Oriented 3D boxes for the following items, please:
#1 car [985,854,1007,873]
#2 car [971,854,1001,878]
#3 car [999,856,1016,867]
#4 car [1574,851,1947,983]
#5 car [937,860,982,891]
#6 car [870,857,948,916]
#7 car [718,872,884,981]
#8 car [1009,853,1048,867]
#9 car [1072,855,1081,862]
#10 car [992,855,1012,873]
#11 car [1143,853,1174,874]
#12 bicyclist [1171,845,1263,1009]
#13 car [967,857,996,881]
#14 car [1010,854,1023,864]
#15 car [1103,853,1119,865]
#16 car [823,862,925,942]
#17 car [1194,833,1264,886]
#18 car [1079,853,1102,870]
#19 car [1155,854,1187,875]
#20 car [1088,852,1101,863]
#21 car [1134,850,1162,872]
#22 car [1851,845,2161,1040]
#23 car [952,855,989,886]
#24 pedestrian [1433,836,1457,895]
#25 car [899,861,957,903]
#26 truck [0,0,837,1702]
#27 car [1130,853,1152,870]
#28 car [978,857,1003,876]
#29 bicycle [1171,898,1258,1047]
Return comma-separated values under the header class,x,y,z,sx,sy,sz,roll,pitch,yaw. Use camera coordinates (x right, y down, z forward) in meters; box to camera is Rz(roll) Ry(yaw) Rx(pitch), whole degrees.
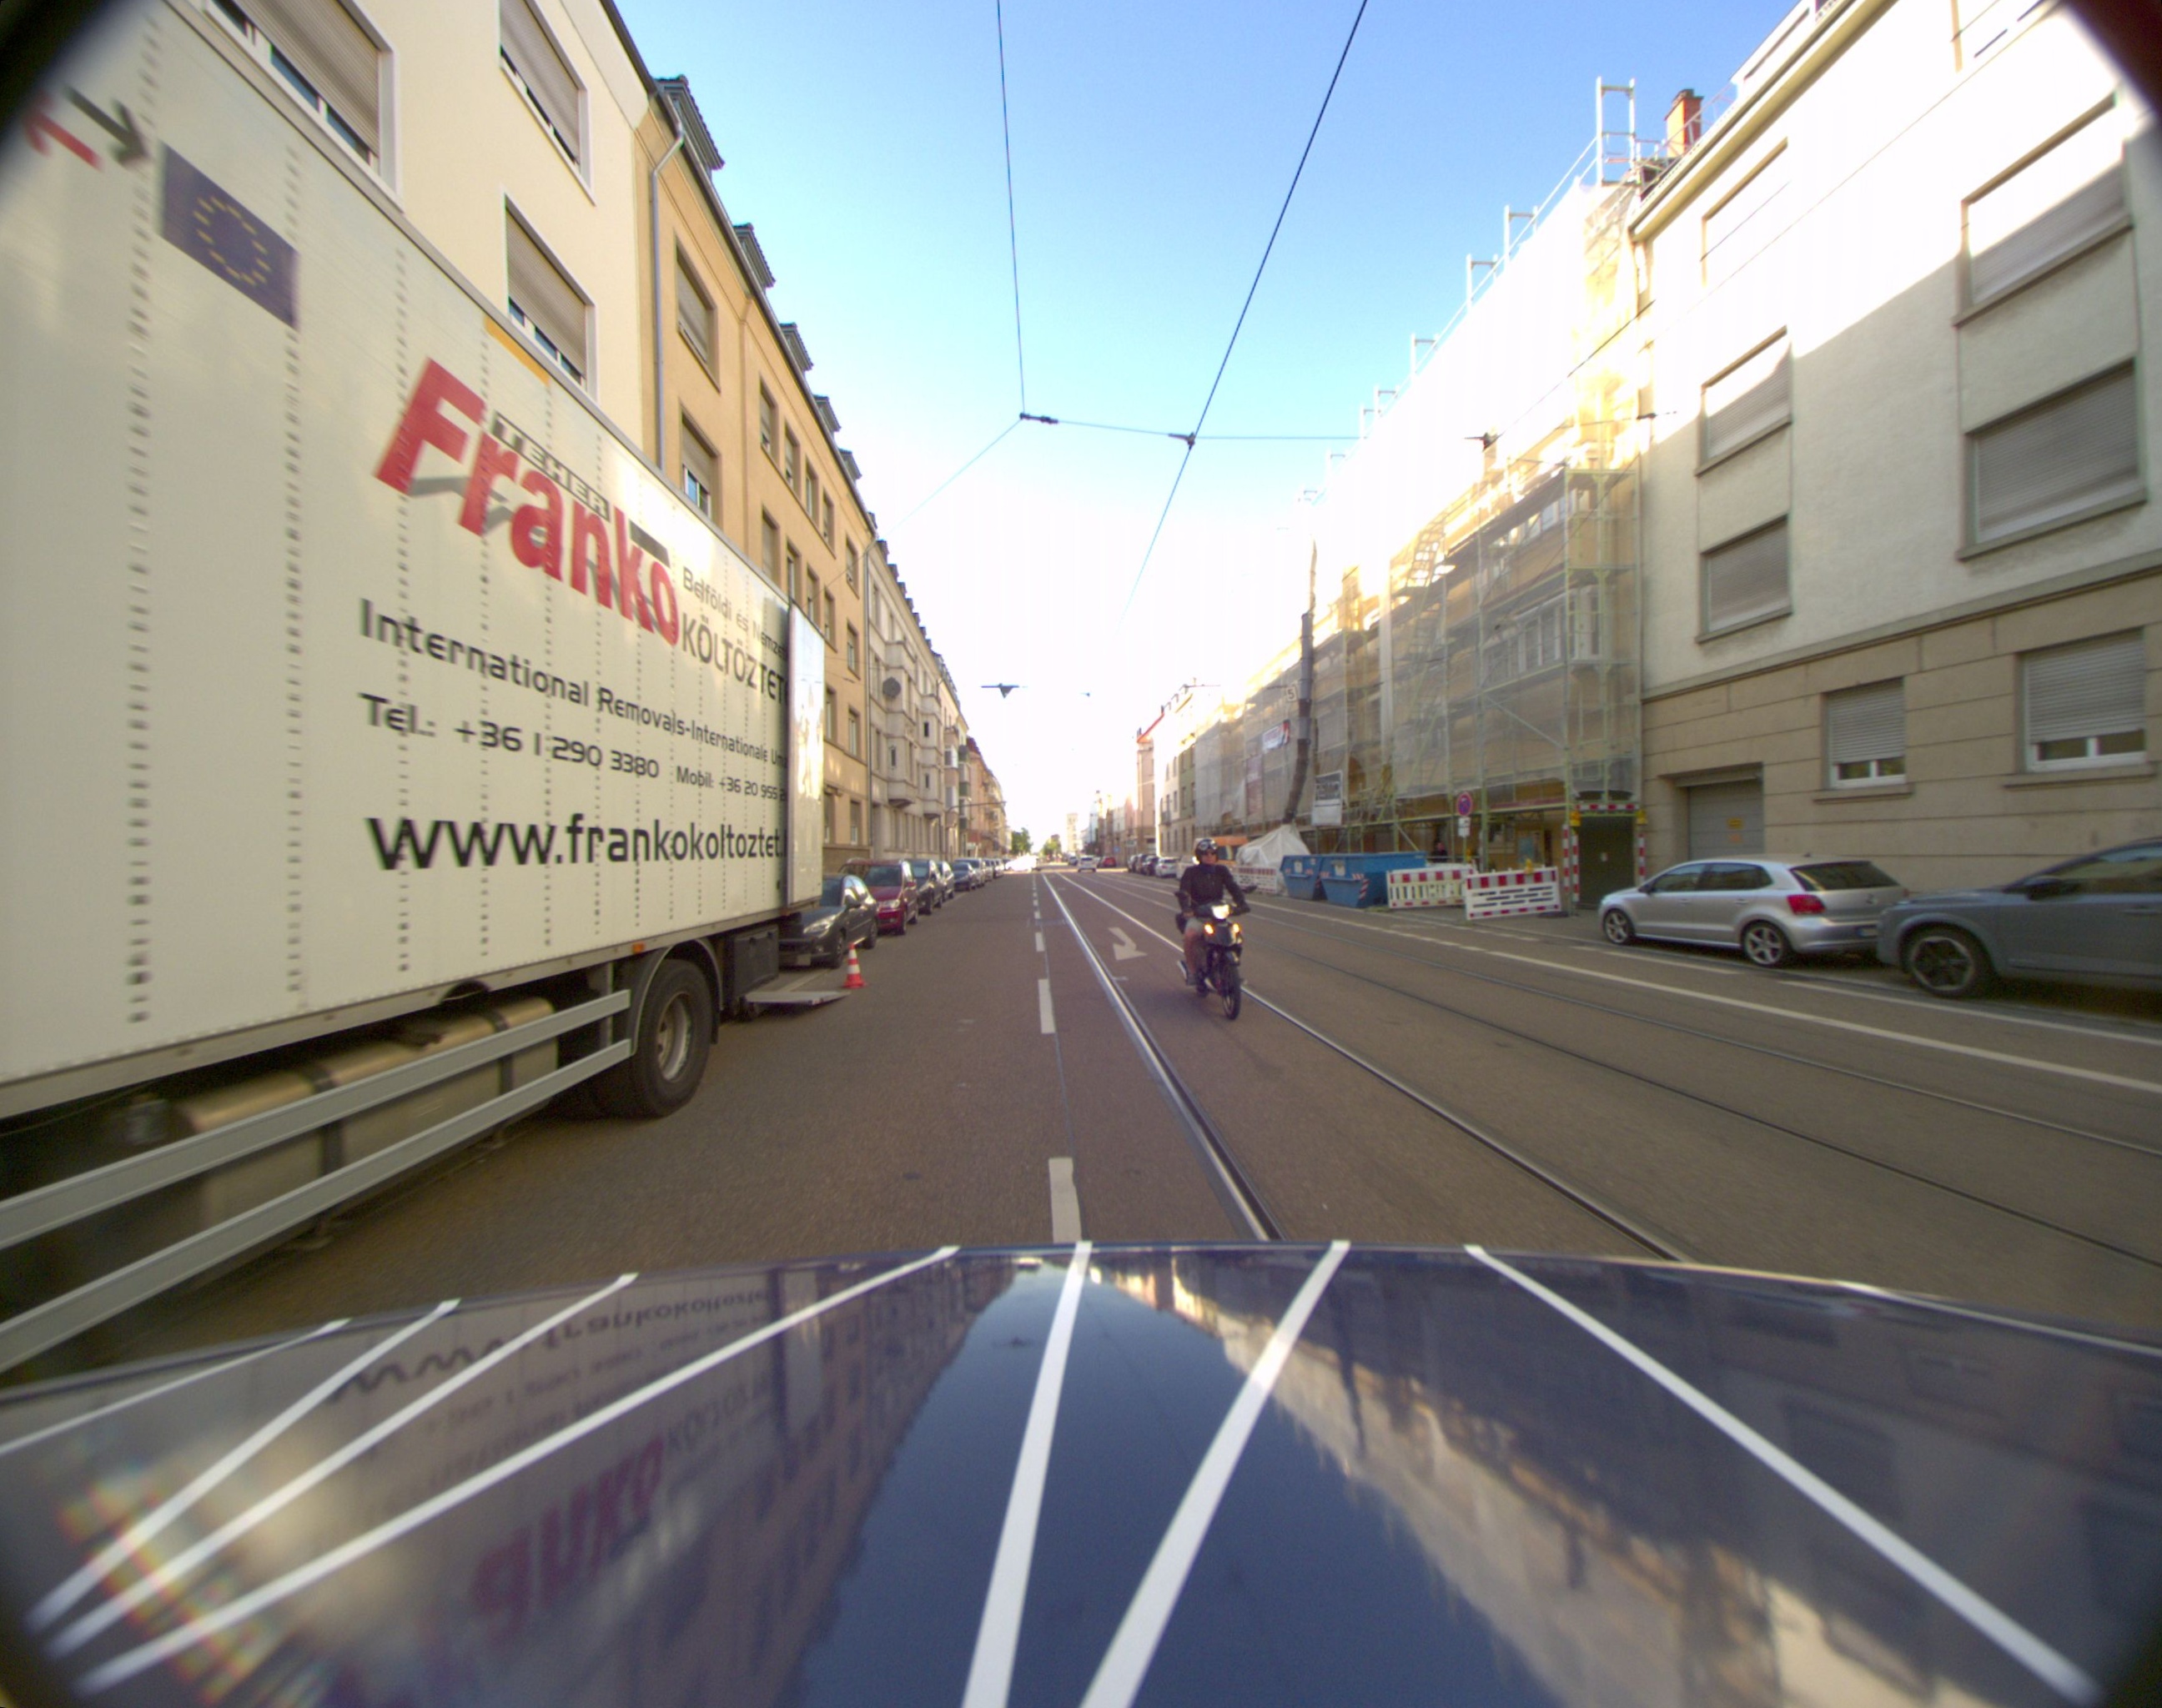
class,x,y,z,sx,sy,sz,roll,pitch,yaw
car,-7.465,0.808,67.101,1.703,1.581,3.959,-1,0,-3
car,-6.990,0.864,56.327,1.703,1.688,4.187,0,0,-1
car,-9.448,0.918,97.654,1.999,1.412,3.726,0,0,-3
car,9.455,0.746,11.101,1.704,1.407,3.998,-4,1,-3
car,-6.021,1.018,38.053,1.704,1.444,4.205,0,0,-2
car,-5.253,0.935,23.718,1.795,1.642,4.364,0,0,-5
car,-4.459,1.070,12.703,1.587,1.455,3.879,0,0,-4
car,-6.024,0.705,87.175,4.281,1.598,1.776,0,0,35
car,-1.072,1.144,176.540,1.799,1.494,3.768,-3,0,-4
car,-7.648,0.964,73.793,1.703,1.581,3.354,2,0,-2
car,6.292,0.732,62.113,1.703,1.569,4.221,-3,0,-4
bicyclist,1.364,0.696,7.674,0.843,1.545,0.850,-1,1,10
car,-6.737,1.001,51.685,1.571,1.475,3.364,2,0,-1
car,-10.746,0.871,127.611,1.999,1.630,3.999,0,0,-3
car,4.068,0.634,103.705,1.799,1.494,3.768,-3,0,-4
car,-4.682,1.010,17.720,1.597,1.599,4.244,0,0,-6
car,7.318,0.255,38.278,2.126,2.454,5.998,0,0,-3
car,0.954,0.724,77.701,1.826,1.559,4.199,-3,0,-5
car,6.603,0.757,56.152,1.751,1.502,3.999,0,0,-3
car,2.370,0.576,134.039,1.999,2.002,3.998,0,0,-3
car,5.971,0.574,68.063,1.799,1.836,3.768,-3,0,-4
car,9.673,0.718,6.440,1.704,1.558,4.404,-2,0,-3
car,-6.366,0.911,44.195,1.713,1.683,4.588,0,0,-3
pedestrian,10.691,0.335,22.346,0.581,1.684,0.718,-2,1,25
car,-5.706,1.014,28.735,1.613,1.454,3.478,0,0,-2
truck,-3.701,-0.268,1.974,2.868,4.049,11.774,-1,0,-3
car,5.713,0.693,73.058,1.798,1.601,3.769,-1,0,0
car,-7.315,0.992,61.985,1.703,1.496,3.862,-1,0,-2
bicycle,1.335,1.091,7.605,0.740,1.170,1.975,-1,0,10
